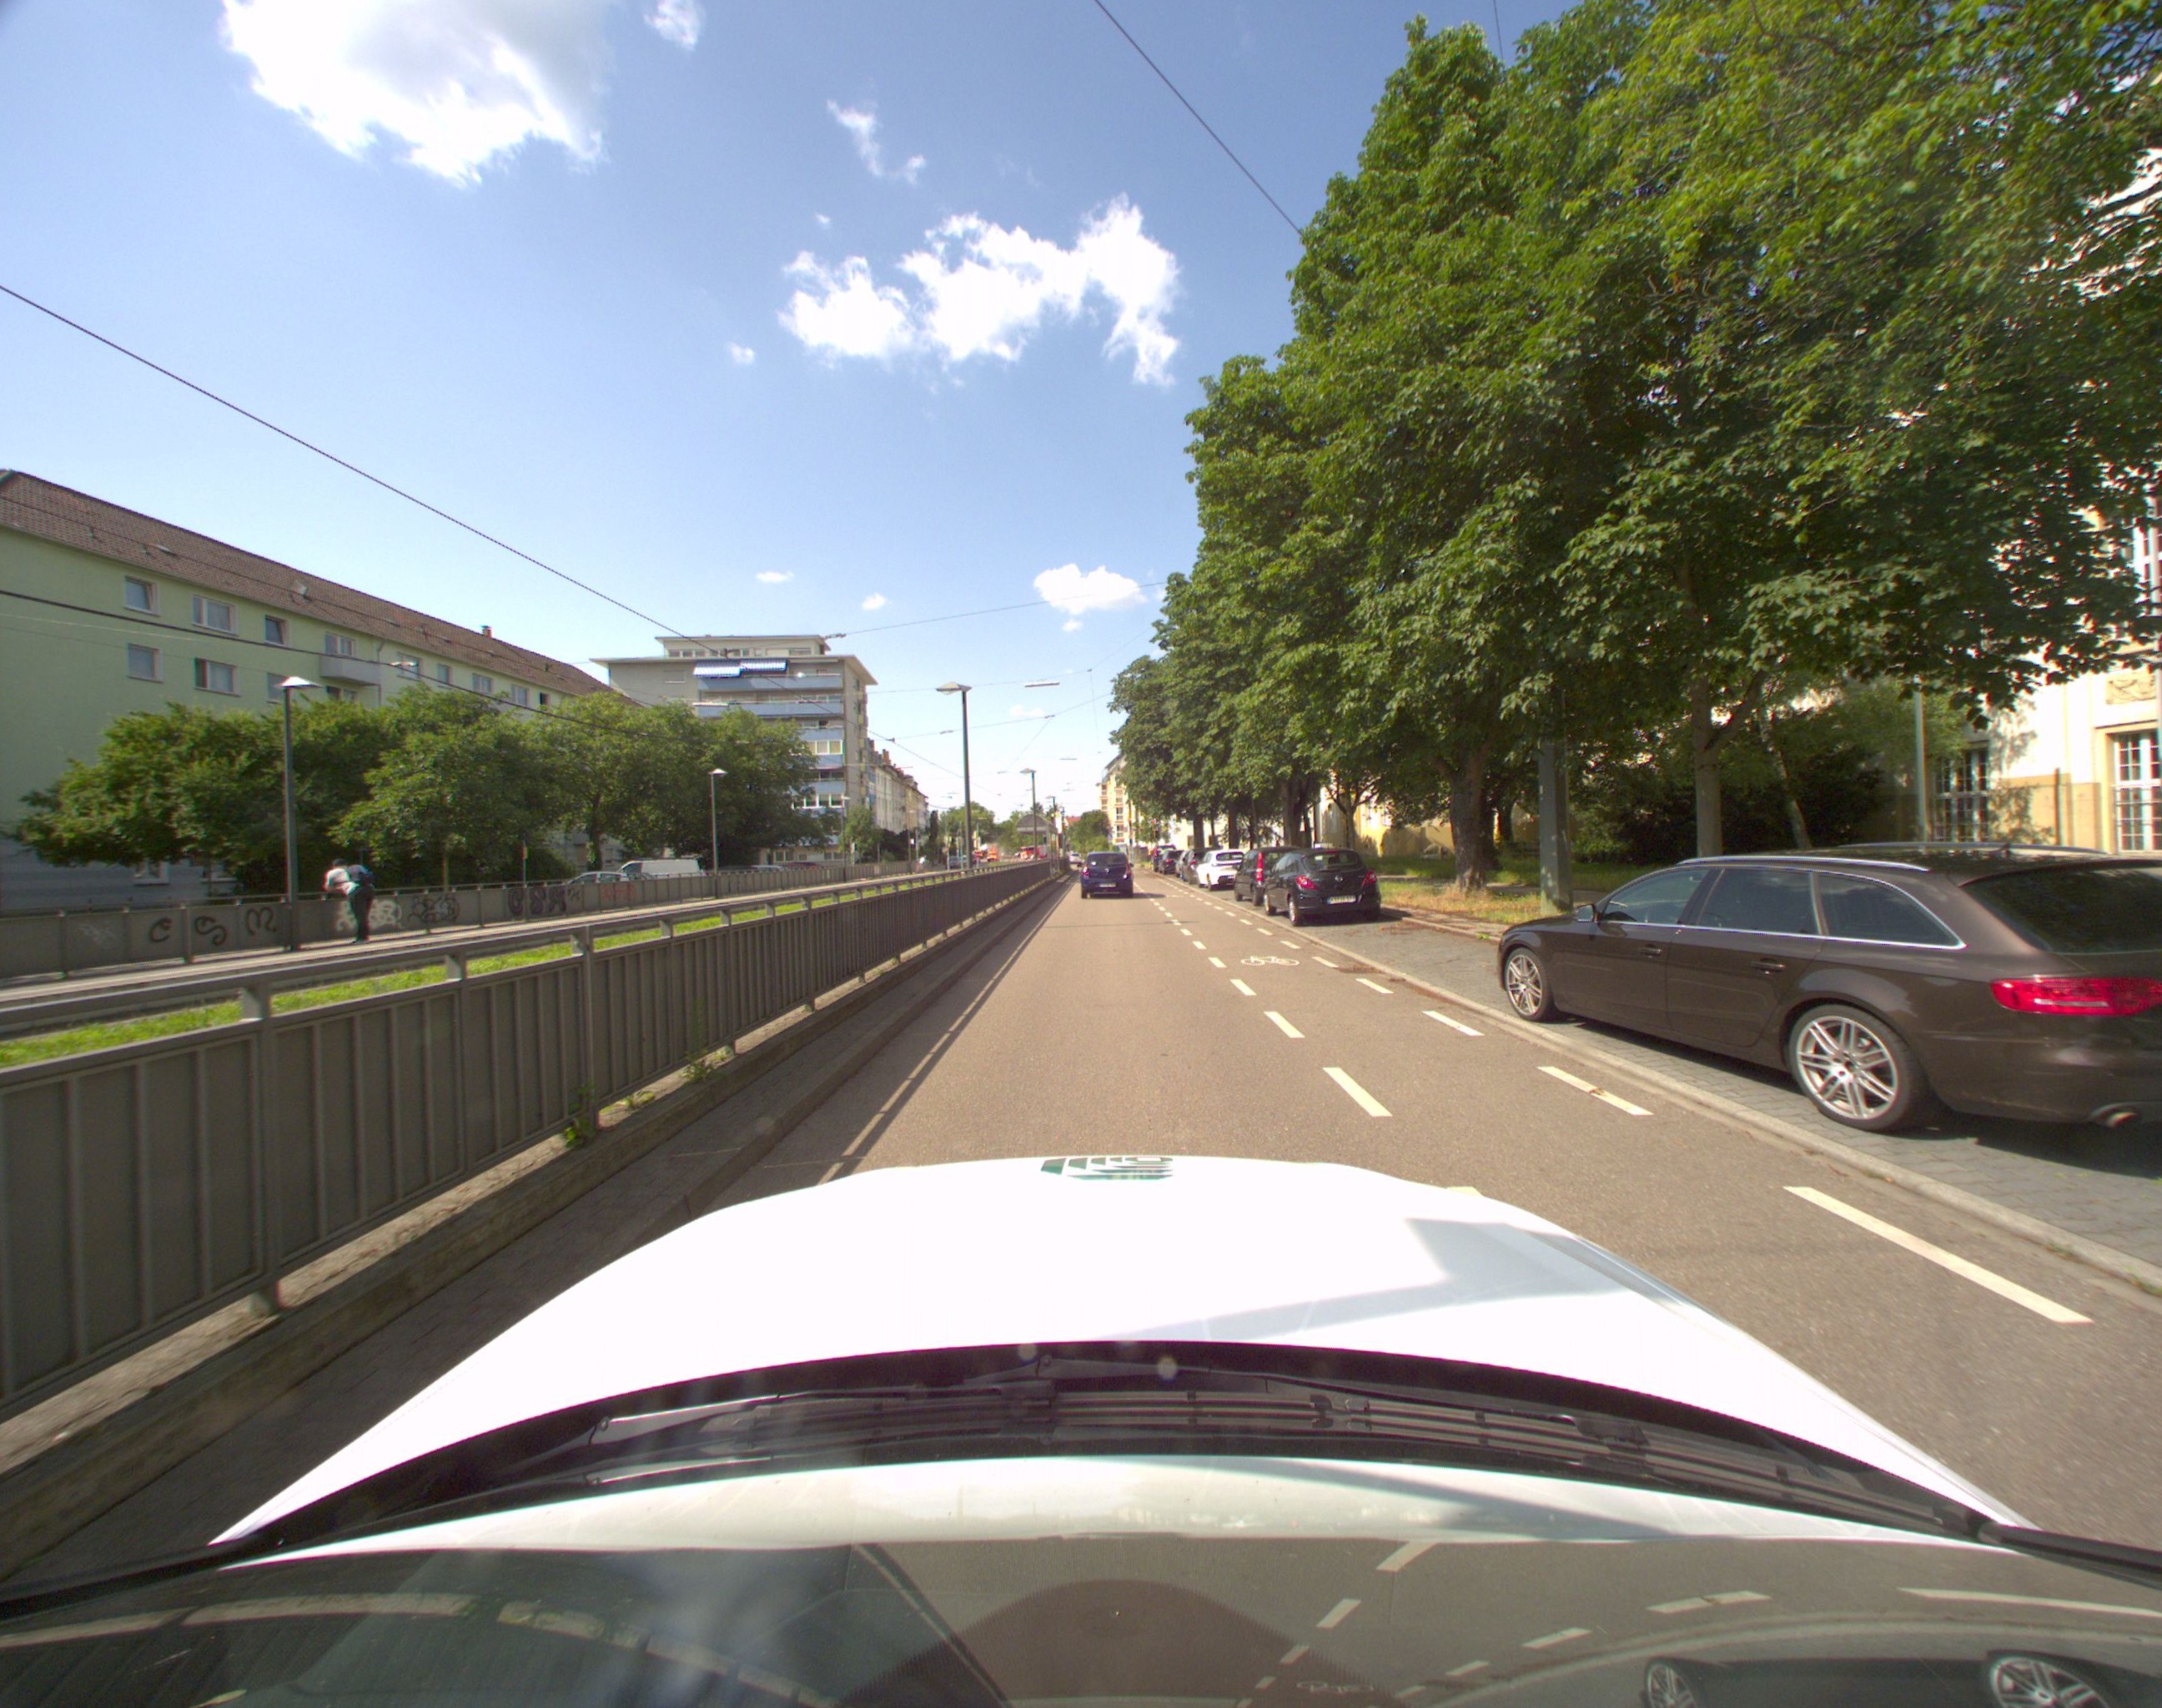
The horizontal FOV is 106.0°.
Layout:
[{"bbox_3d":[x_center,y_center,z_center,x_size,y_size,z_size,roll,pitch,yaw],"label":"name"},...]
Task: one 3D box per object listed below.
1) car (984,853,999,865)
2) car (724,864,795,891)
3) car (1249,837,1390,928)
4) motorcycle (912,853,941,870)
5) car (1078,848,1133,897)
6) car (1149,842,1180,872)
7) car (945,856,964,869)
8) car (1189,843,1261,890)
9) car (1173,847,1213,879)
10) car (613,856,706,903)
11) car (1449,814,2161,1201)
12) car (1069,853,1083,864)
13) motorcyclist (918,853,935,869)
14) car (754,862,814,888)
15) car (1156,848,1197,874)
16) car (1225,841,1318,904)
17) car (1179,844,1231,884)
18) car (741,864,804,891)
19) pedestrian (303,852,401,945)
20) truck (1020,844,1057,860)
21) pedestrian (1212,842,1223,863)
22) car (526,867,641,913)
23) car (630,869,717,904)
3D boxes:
[{"bbox_3d":[-18.083,0.971,164.656,1.999,2.275,4.804,2,0,-18],"label":"car"},{"bbox_3d":[-20.527,1.478,52.075,4.039,1.514,1.594,-2,0,-29],"label":"car"},{"bbox_3d":[4.884,0.524,17.305,1.685,1.561,4.308,-5,0,1],"label":"car"},{"bbox_3d":[-13.487,0.652,71.226,1.005,1.339,2.533,-3,0,30],"label":"motorcycle"},{"bbox_3d":[0.801,0.597,27.565,1.738,1.507,4.000,0,0,1],"label":"car"},{"bbox_3d":[5.758,0.159,56.613,1.815,1.896,4.187,-3,1,3],"label":"car"},{"bbox_3d":[-16.502,1.117,106.491,1.989,1.645,3.996,0,0,-3],"label":"car"},{"bbox_3d":[5.446,0.451,31.238,1.830,1.523,4.251,-4,0,-1],"label":"car"},{"bbox_3d":[5.780,0.450,42.249,1.585,1.445,3.599,-4,0,2],"label":"car"},{"bbox_3d":[-20.934,1.217,40.469,3.964,2.070,2.030,-2,0,-30],"label":"car"},{"bbox_3d":[4.702,0.614,5.706,1.827,1.467,4.826,-4,-1,-2],"label":"car"},{"bbox_3d":[-0.685,0.618,106.637,1.618,1.465,3.506,0,0,-3],"label":"car"},{"bbox_3d":[-13.494,0.631,71.206,0.929,1.339,0.993,-3,0,30],"label":"motorcyclist"},{"bbox_3d":[-20.823,1.449,57.163,3.678,1.579,1.633,-2,0,-30],"label":"car"},{"bbox_3d":[5.931,0.412,51.252,1.911,1.442,4.796,-4,1,0],"label":"car"},{"bbox_3d":[5.155,0.500,22.500,1.551,1.461,3.556,-6,-1,-1],"label":"car"},{"bbox_3d":[5.522,0.410,36.839,1.718,1.583,4.679,-3,0,2],"label":"car"},{"bbox_3d":[-20.707,1.540,54.680,3.678,1.579,1.633,-2,0,-30],"label":"car"},{"bbox_3d":[-13.073,0.775,14.631,0.986,1.578,0.798,-2,-1,-2],"label":"pedestrian"},{"bbox_3d":[-9.858,-0.468,189.108,8.420,3.185,2.576,-4,0,-36],"label":"truck"},{"bbox_3d":[11.022,-0.140,65.808,0.741,1.696,0.767,-3,0,2],"label":"pedestrian"},{"bbox_3d":[-21.215,1.491,34.759,4.018,1.639,1.807,-2,2,-36],"label":"car"},{"bbox_3d":[-21.510,1.684,43.039,3.965,1.579,1.702,-2,0,-31],"label":"car"}]
